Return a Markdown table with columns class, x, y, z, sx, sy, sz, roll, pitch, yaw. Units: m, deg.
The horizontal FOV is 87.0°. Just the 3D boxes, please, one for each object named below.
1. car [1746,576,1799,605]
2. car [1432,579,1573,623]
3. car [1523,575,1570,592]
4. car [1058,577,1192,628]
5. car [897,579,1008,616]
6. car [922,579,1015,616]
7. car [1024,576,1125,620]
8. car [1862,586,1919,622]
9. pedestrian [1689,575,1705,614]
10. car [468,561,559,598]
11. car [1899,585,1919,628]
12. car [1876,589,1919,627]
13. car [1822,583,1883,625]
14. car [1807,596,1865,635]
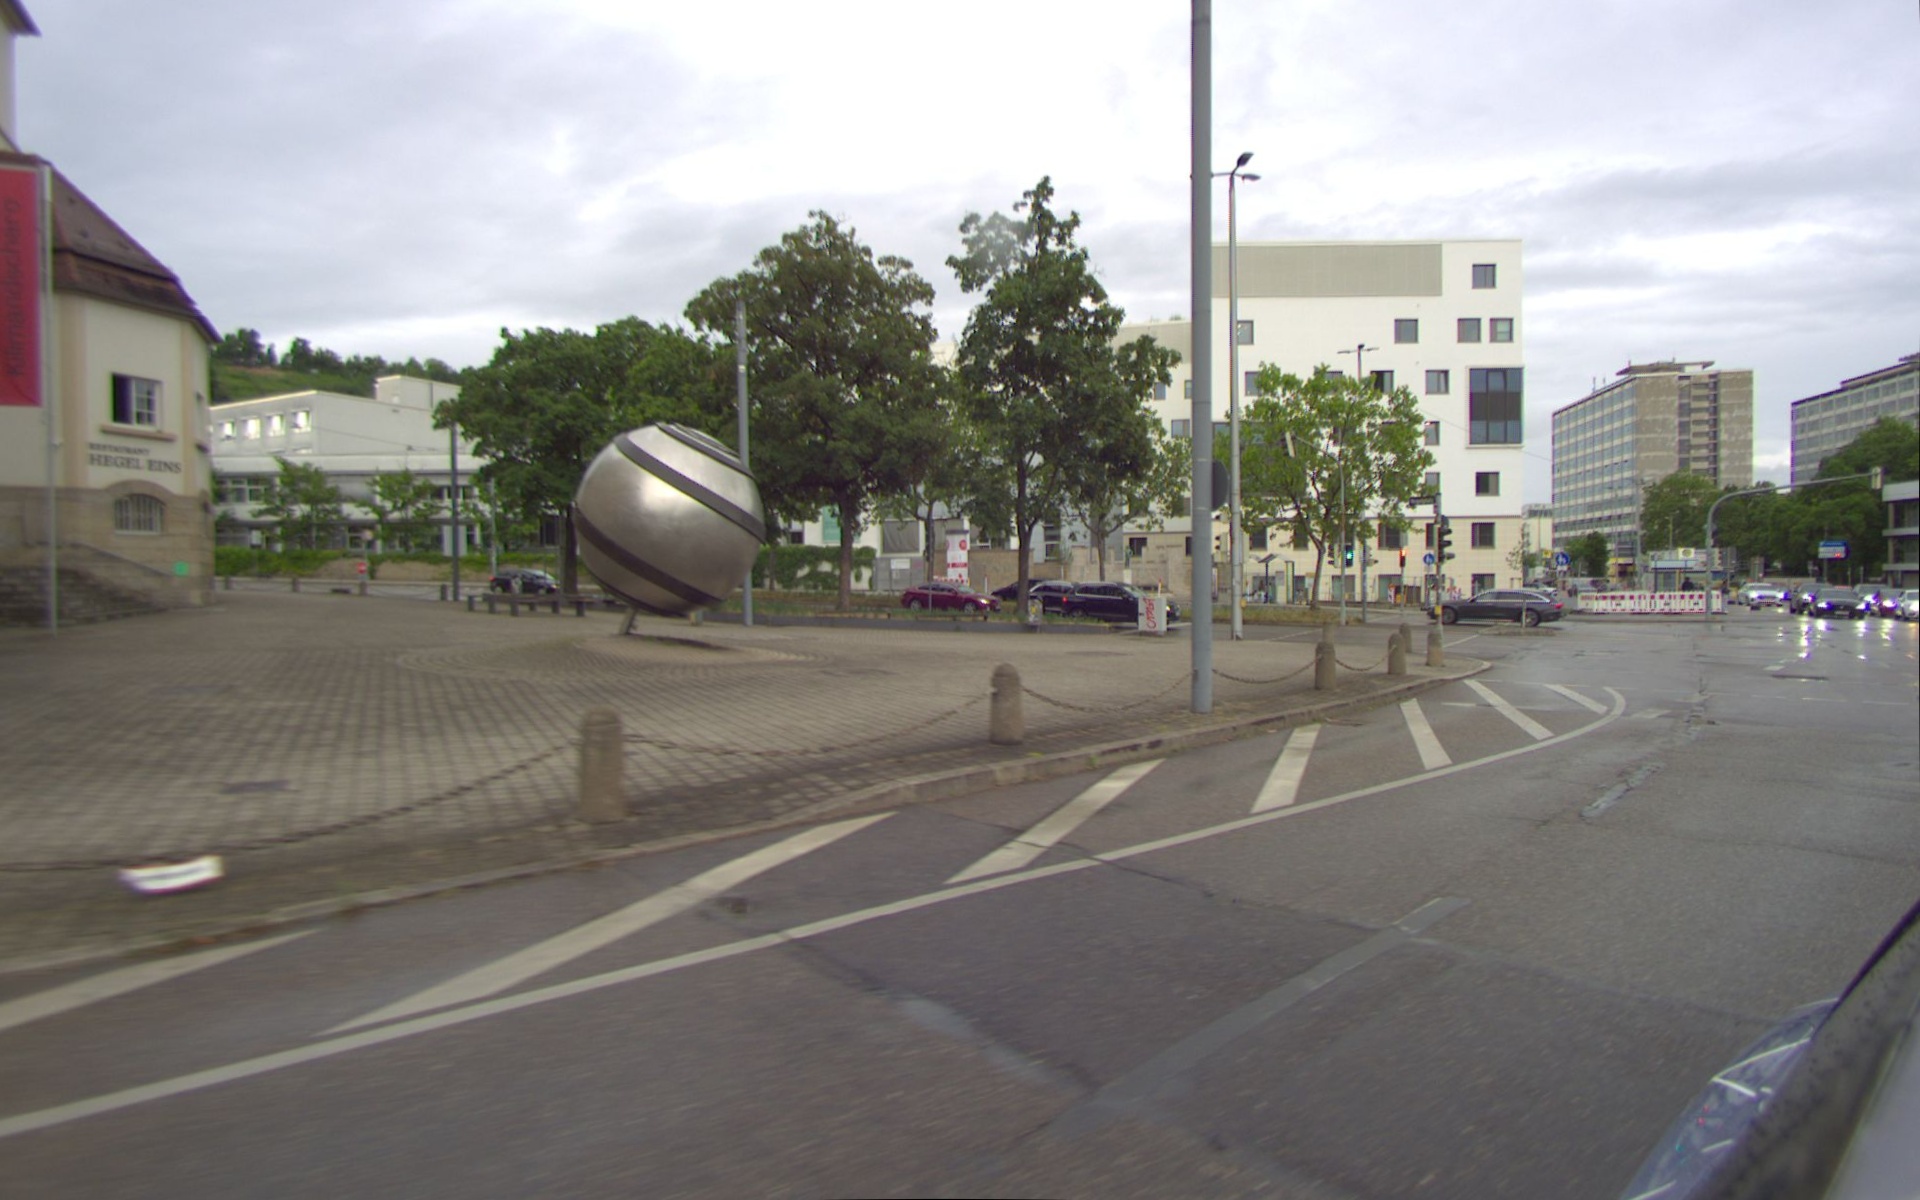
| class | x | y | z | sx | sy | sz | roll | pitch | yaw |
| --- | --- | --- | --- | --- | --- | --- | --- | --- | --- |
| car | 56.821 | -0.661 | 70.838 | 2.059 | 1.935 | 4.517 | 2 | 1 | 28 |
| car | 21.622 | 0.014 | 40.408 | 4.806 | 1.552 | 2.071 | 2 | 1 | 34 |
| car | 62.591 | -1.787 | 108.031 | 1.806 | 1.725 | 4.001 | 1 | 1 | -35 |
| car | 6.051 | 0.051 | 37.206 | 4.453 | 1.618 | 1.965 | 3 | 1 | 30 |
| car | -0.351 | -0.130 | 44.258 | 4.567 | 1.383 | 1.764 | 3 | 1 | 27 |
| car | 0.460 | -0.171 | 52.501 | 4.401 | 1.735 | 2.065 | 2 | 1 | 18 |
| car | 4.648 | -0.091 | 41.163 | 3.709 | 1.601 | 1.741 | 3 | 1 | 30 |
| car | 52.882 | 0.217 | 57.526 | 2.067 | 1.935 | 4.500 | 2 | 1 | 38 |
| pedestrian | 39.535 | -0.287 | 54.282 | 0.639 | 2.039 | 0.587 | 1 | 0 | 35 |
| car | -21.778 | -1.010 | 49.345 | 4.117 | 1.617 | 1.823 | 3 | 1 | 26 |
| car | 45.164 | 0.328 | 46.851 | 2.067 | 1.935 | 4.500 | 2 | 1 | 38 |
| car | 48.636 | 0.385 | 51.899 | 2.067 | 1.850 | 4.500 | 2 | 1 | 38 |
| car | 43.166 | 0.166 | 49.014 | 1.874 | 1.892 | 4.287 | 2 | 1 | 38 |
| car | 47.116 | 0.799 | 54.538 | 2.067 | 1.935 | 4.500 | 2 | 1 | 38 |
